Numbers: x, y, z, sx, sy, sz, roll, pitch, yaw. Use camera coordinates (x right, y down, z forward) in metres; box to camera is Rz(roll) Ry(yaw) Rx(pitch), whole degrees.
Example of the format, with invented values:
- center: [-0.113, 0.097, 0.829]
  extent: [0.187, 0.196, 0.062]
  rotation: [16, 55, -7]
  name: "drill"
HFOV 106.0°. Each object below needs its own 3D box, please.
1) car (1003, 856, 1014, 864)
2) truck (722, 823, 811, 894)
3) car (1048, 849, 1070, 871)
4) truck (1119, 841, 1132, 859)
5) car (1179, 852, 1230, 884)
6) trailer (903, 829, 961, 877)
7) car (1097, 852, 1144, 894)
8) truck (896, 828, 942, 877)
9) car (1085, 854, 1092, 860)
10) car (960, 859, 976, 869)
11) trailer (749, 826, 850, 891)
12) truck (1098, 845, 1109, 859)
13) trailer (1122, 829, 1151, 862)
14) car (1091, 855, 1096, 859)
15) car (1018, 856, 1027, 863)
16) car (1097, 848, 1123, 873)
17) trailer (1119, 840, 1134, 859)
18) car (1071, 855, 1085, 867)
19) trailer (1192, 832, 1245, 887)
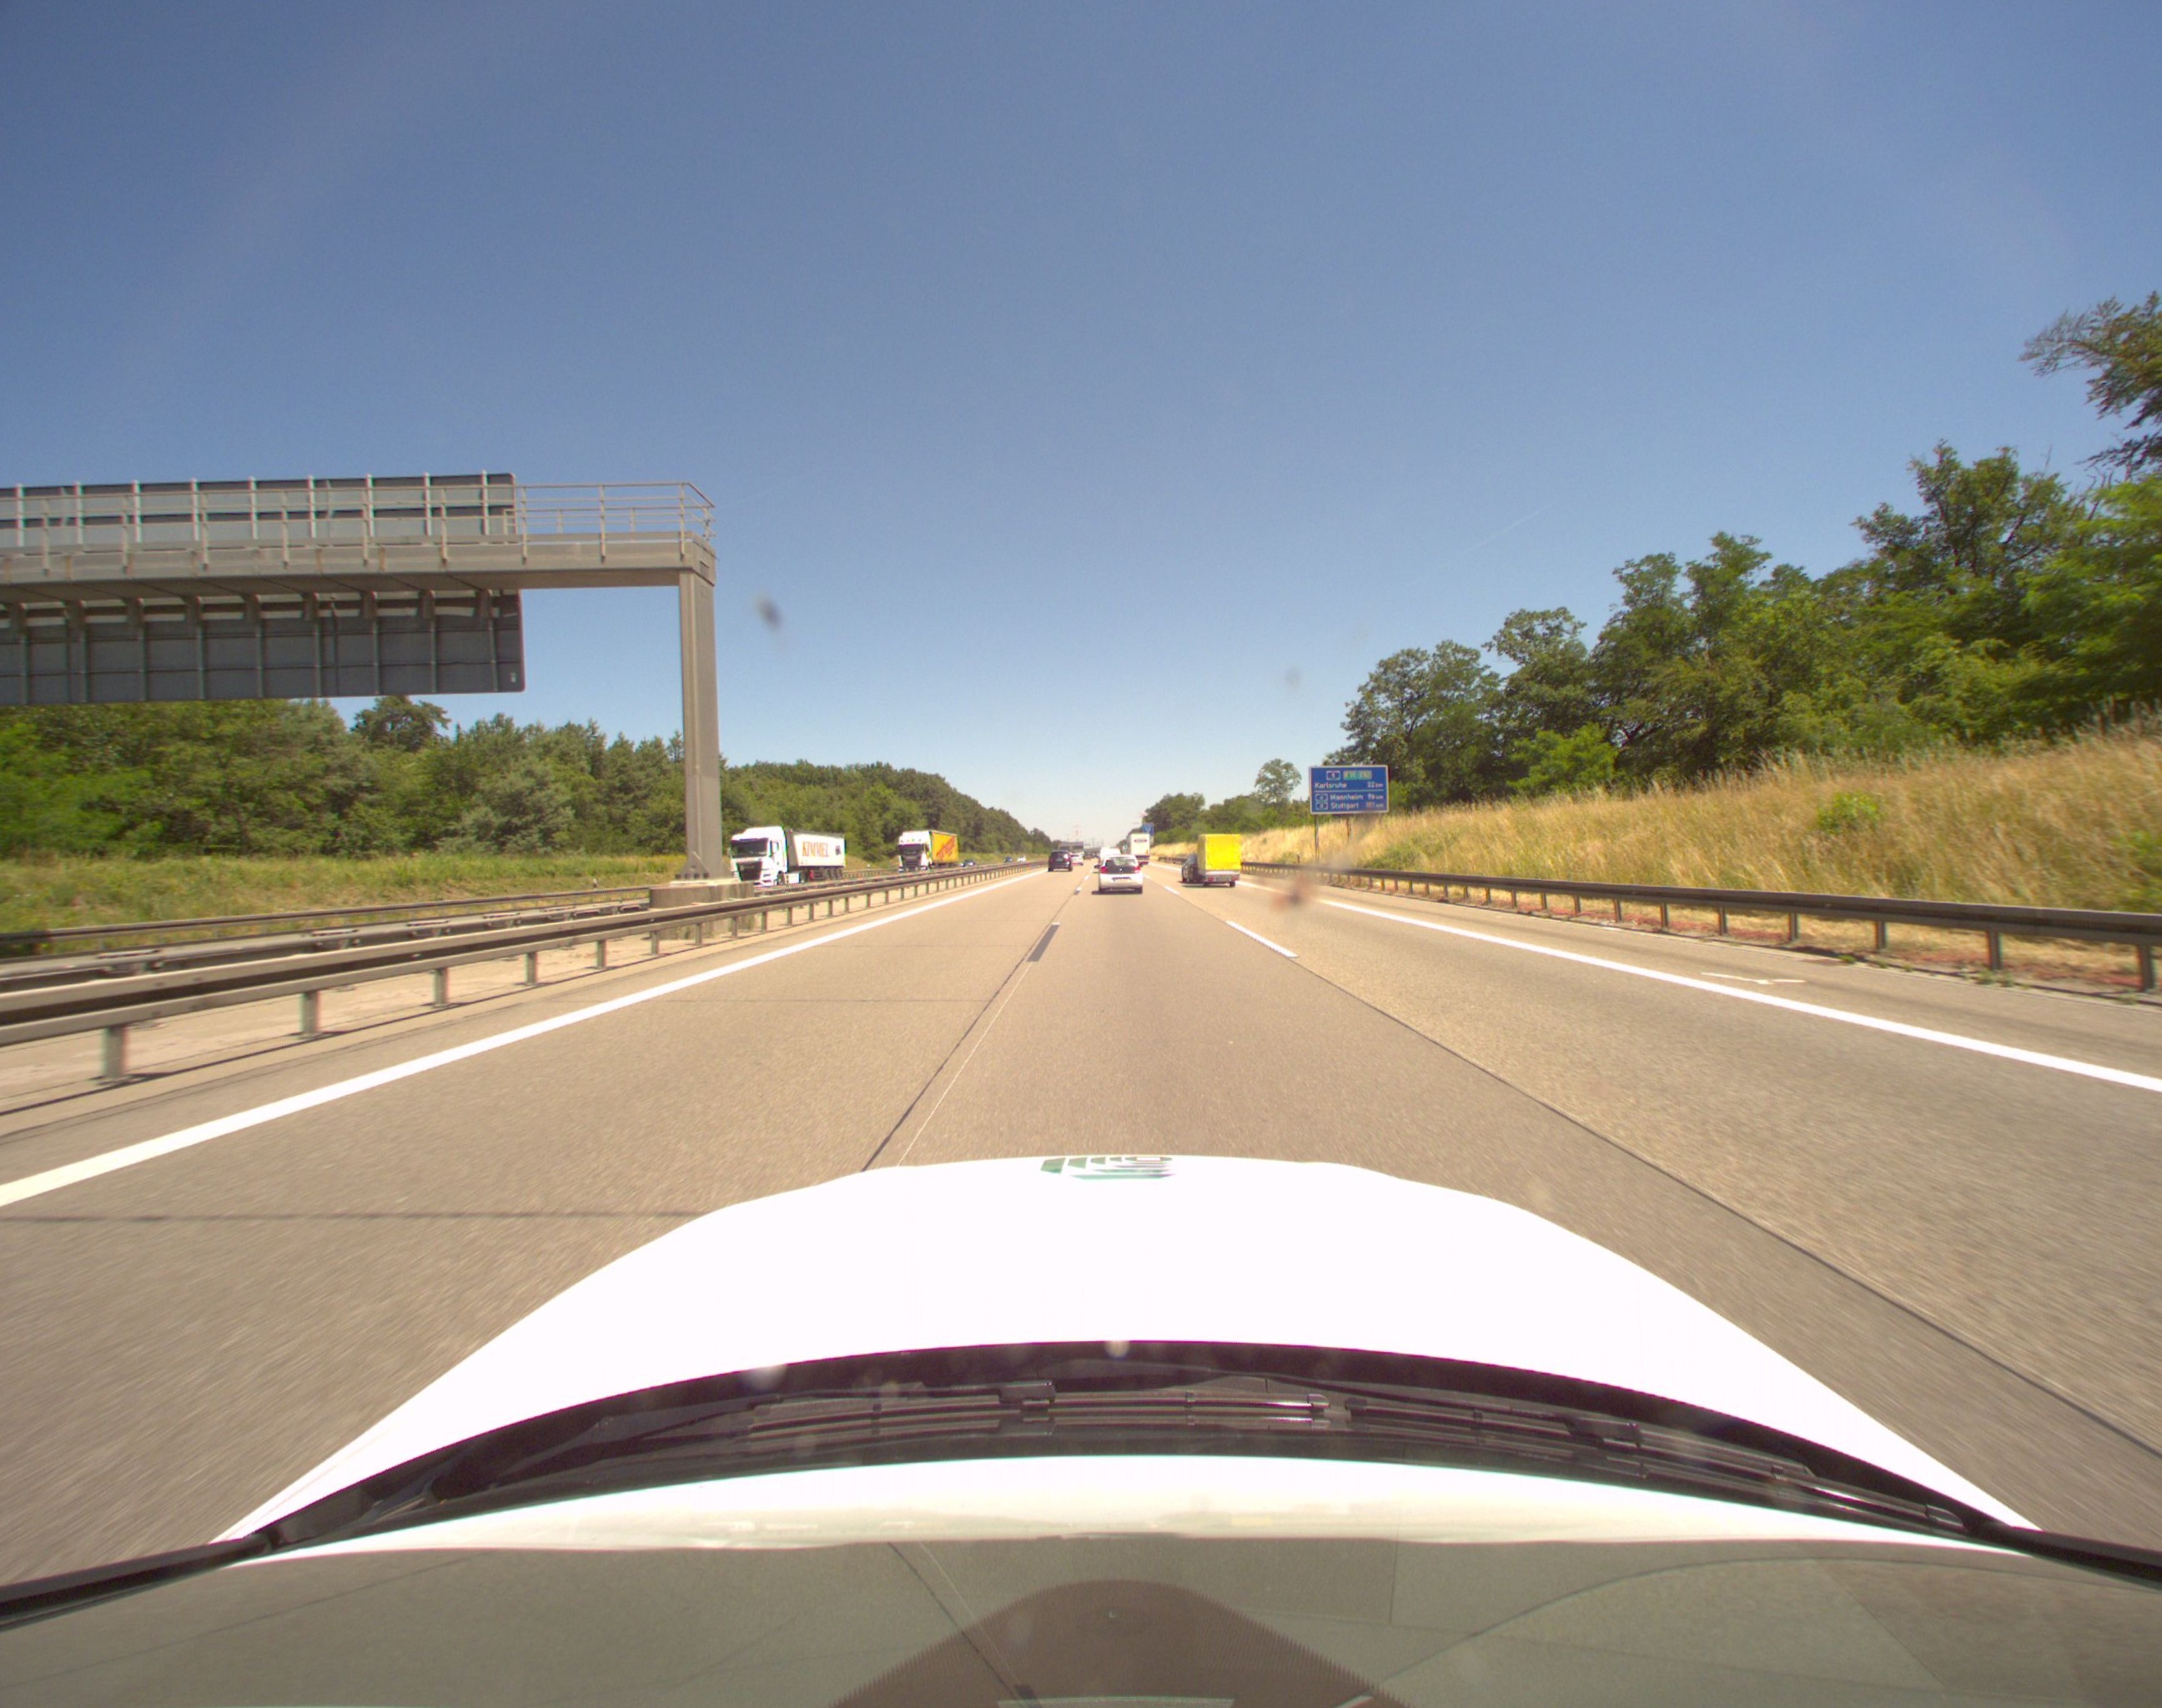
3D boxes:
- center: [-15.824, 1.346, 178.150]
  extent: [1.696, 1.545, 4.536]
  rotation: [-4, 0, 1]
  name: "car"
- center: [-19.376, 0.274, 50.562]
  extent: [2.616, 3.948, 6.484]
  rotation: [-4, 0, 1]
  name: "truck"
- center: [-1.807, 0.477, 67.603]
  extent: [1.620, 1.755, 3.806]
  rotation: [-1, 0, 1]
  name: "car"
- center: [9.571, -0.772, 175.537]
  extent: [2.673, 3.837, 4.445]
  rotation: [0, -1, 1]
  name: "truck"
- center: [6.002, 0.656, 40.085]
  extent: [1.815, 1.456, 4.788]
  rotation: [0, 0, 0]
  name: "car"
- center: [-14.327, -0.134, 79.623]
  extent: [2.455, 4.072, 14.283]
  rotation: [-4, 0, 1]
  name: "trailer"
- center: [1.476, 0.686, 31.274]
  extent: [1.702, 1.495, 4.025]
  rotation: [-1, 0, 1]
  name: "car"
- center: [-14.486, -0.109, 73.125]
  extent: [2.455, 4.072, 6.289]
  rotation: [-4, 0, 1]
  name: "truck"
- center: [1.712, 0.633, 187.154]
  extent: [1.601, 1.300, 3.675]
  rotation: [-1, 0, 1]
  name: "car"
- center: [-17.614, 1.487, 127.058]
  extent: [1.669, 1.365, 4.891]
  rotation: [-4, 0, 1]
  name: "car"
- center: [-19.246, 0.263, 56.695]
  extent: [2.616, 3.948, 11.161]
  rotation: [-4, 0, 1]
  name: "trailer"
- center: [4.761, -0.434, 172.667]
  extent: [2.053, 2.914, 7.004]
  rotation: [-1, 0, 1]
  name: "truck"
- center: [7.446, -1.010, 110.262]
  extent: [3.274, 4.219, 13.567]
  rotation: [0, 0, 1]
  name: "trailer"
- center: [3.518, 0.764, 236.109]
  extent: [1.400, 1.131, 3.359]
  rotation: [-1, 0, 1]
  name: "car"
- center: [-14.782, 1.301, 206.637]
  extent: [1.696, 1.661, 5.118]
  rotation: [-4, 0, 1]
  name: "car"
- center: [2.191, 0.508, 62.596]
  extent: [1.808, 1.827, 5.111]
  rotation: [-1, 0, 1]
  name: "car"
- center: [9.492, -0.788, 170.835]
  extent: [2.673, 3.837, 12.012]
  rotation: [0, 0, 1]
  name: "trailer"
- center: [-0.330, 0.862, 100.592]
  extent: [1.664, 1.401, 3.713]
  rotation: [-1, 0, 0]
  name: "car"
- center: [5.980, 0.232, 35.771]
  extent: [1.697, 2.289, 3.839]
  rotation: [0, 0, 0]
  name: "trailer"
